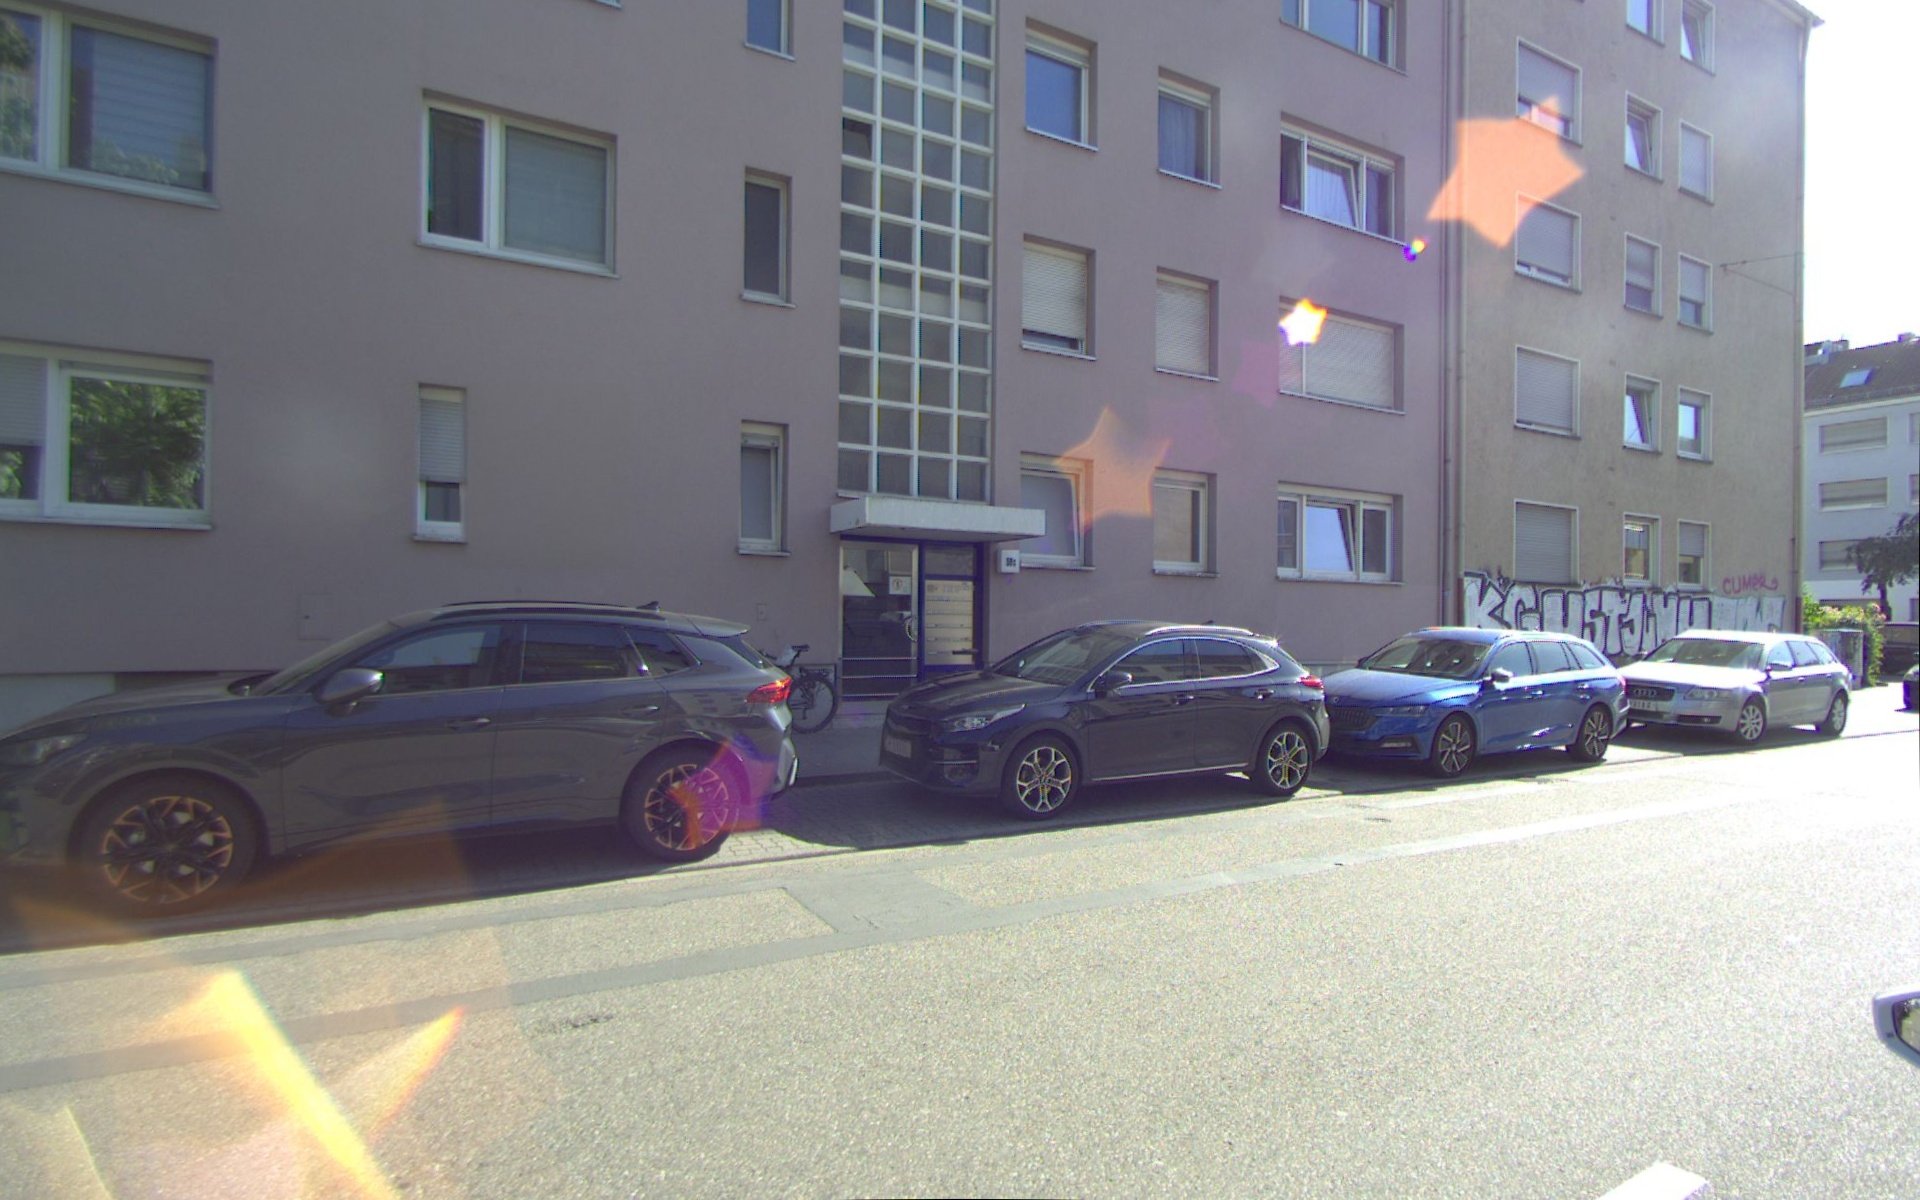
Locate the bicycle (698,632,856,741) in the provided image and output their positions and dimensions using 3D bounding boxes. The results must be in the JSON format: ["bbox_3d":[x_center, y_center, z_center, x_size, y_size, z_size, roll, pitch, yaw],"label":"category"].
[{"bbox_3d":[-1.965,0.910,10.904,1.627,1.098,0.413,1,1,-30],"label":"bicycle"}]

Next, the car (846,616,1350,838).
[{"bbox_3d":[1.280,0.982,9.176,4.175,1.517,1.985,1,2,-28],"label":"car"}]

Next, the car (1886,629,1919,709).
[{"bbox_3d":[20.051,1.363,19.742,3.954,1.499,1.645,1,1,-31],"label":"car"}]

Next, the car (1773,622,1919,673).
[{"bbox_3d":[31.374,1.626,35.400,1.527,1.648,3.965,1,-1,-32],"label":"car"}]

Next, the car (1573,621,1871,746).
[{"bbox_3d":[11.156,1.124,14.626,4.704,1.489,1.768,1,1,-30],"label":"car"}]

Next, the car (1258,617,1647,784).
[{"bbox_3d":[5.719,1.024,11.523,4.571,1.517,1.712,1,2,-30],"label":"car"}]

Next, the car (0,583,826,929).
[{"bbox_3d":[-3.244,0.769,6.541,4.311,1.627,1.868,1,1,-29],"label":"car"}]
